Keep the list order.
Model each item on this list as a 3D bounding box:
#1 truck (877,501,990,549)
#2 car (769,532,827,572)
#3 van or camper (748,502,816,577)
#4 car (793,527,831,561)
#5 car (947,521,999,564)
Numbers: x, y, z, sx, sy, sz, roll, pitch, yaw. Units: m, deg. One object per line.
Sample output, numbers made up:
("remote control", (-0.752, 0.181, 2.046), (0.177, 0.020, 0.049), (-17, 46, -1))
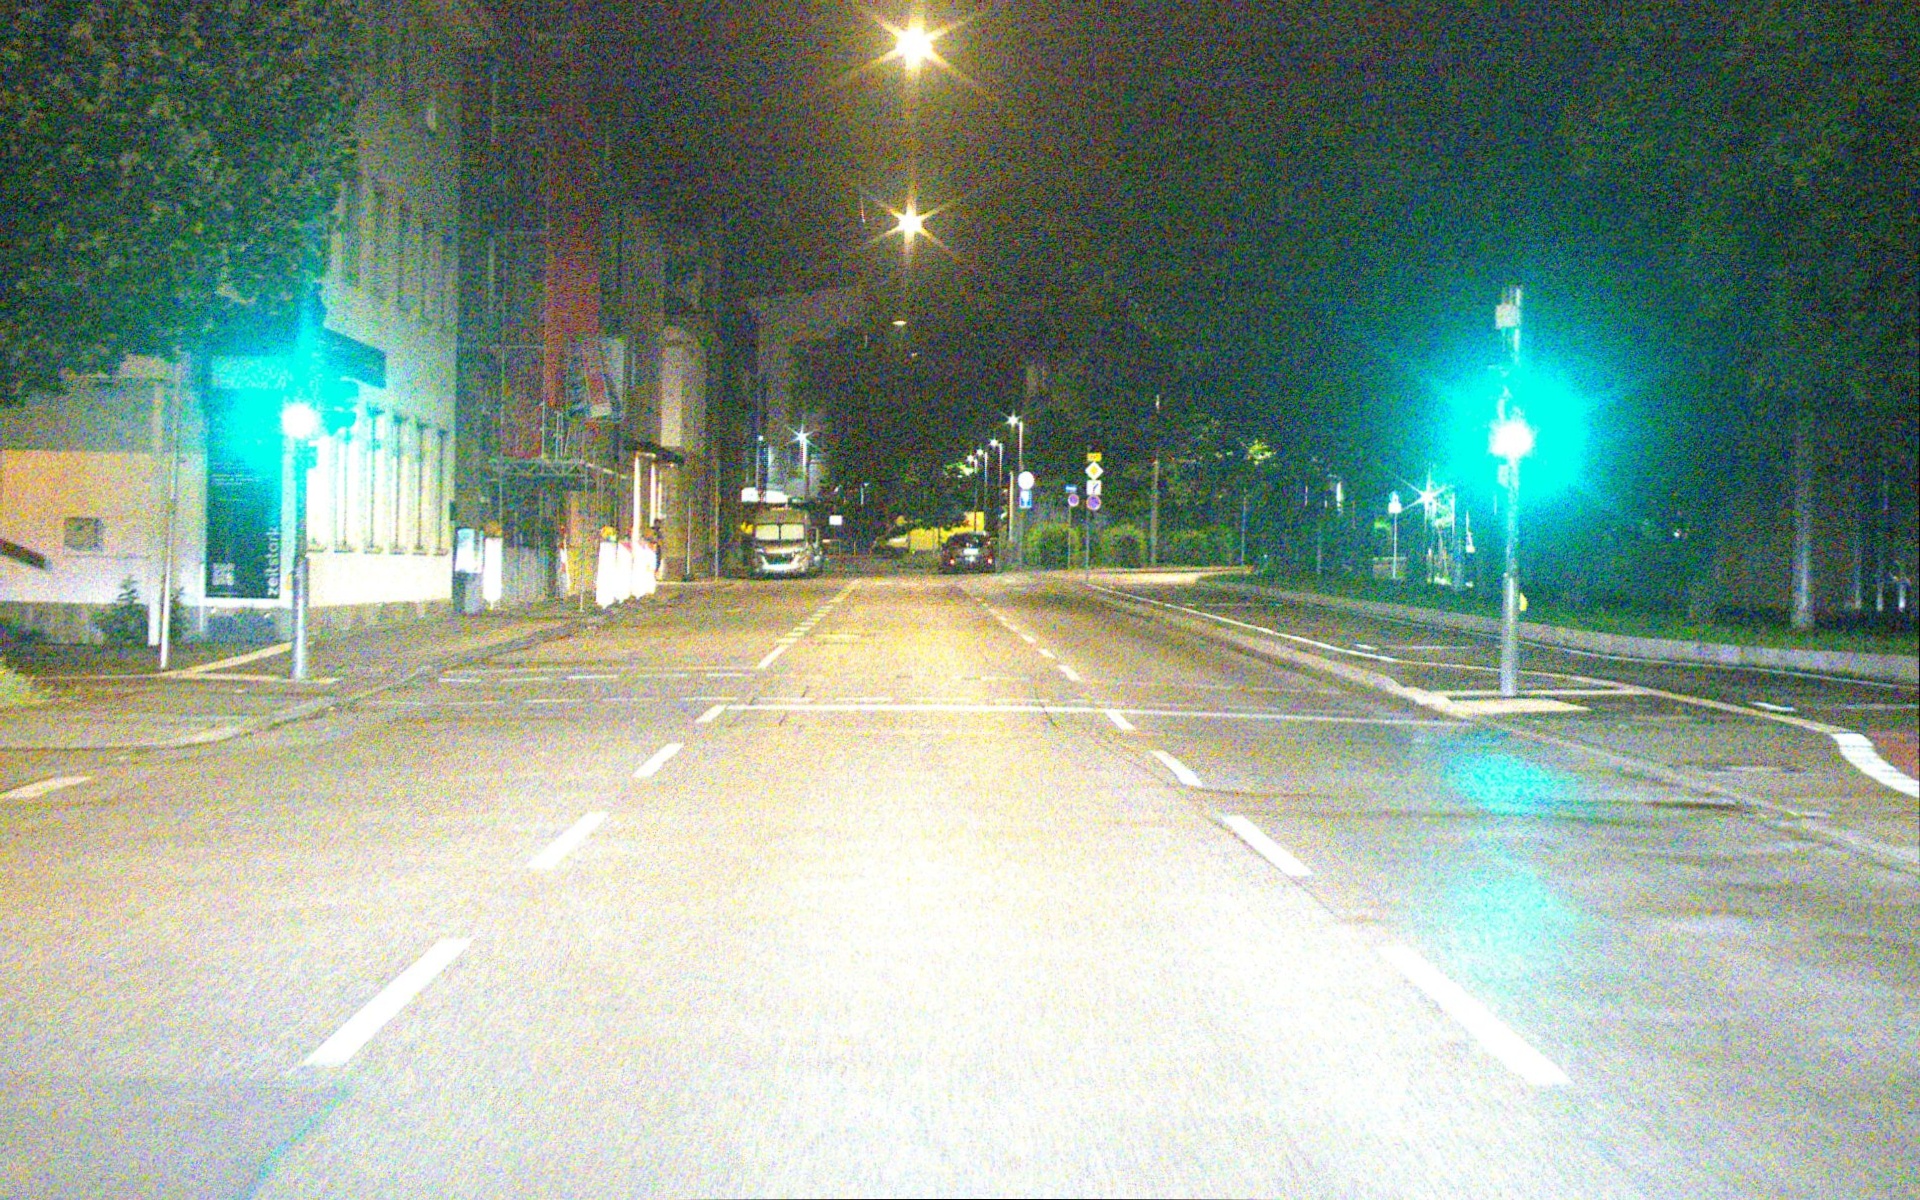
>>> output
("truck", (-1.629, -4.564, 209.639), (6.775, 2.834, 2.000), (1, 1, -3))
("car", (-6.274, -1.846, 132.517), (1.838, 1.502, 4.743), (0, 1, -8))
("van or camper", (-6.271, -2.123, 121.655), (2.158, 2.527, 6.227), (-2, 1, -1))
("car", (-6.893, -2.622, 160.817), (1.677, 1.561, 4.105), (0, 0, -1))
("car", (0.519, -2.205, 131.974), (1.884, 1.597, 4.107), (-1, 1, 1))
